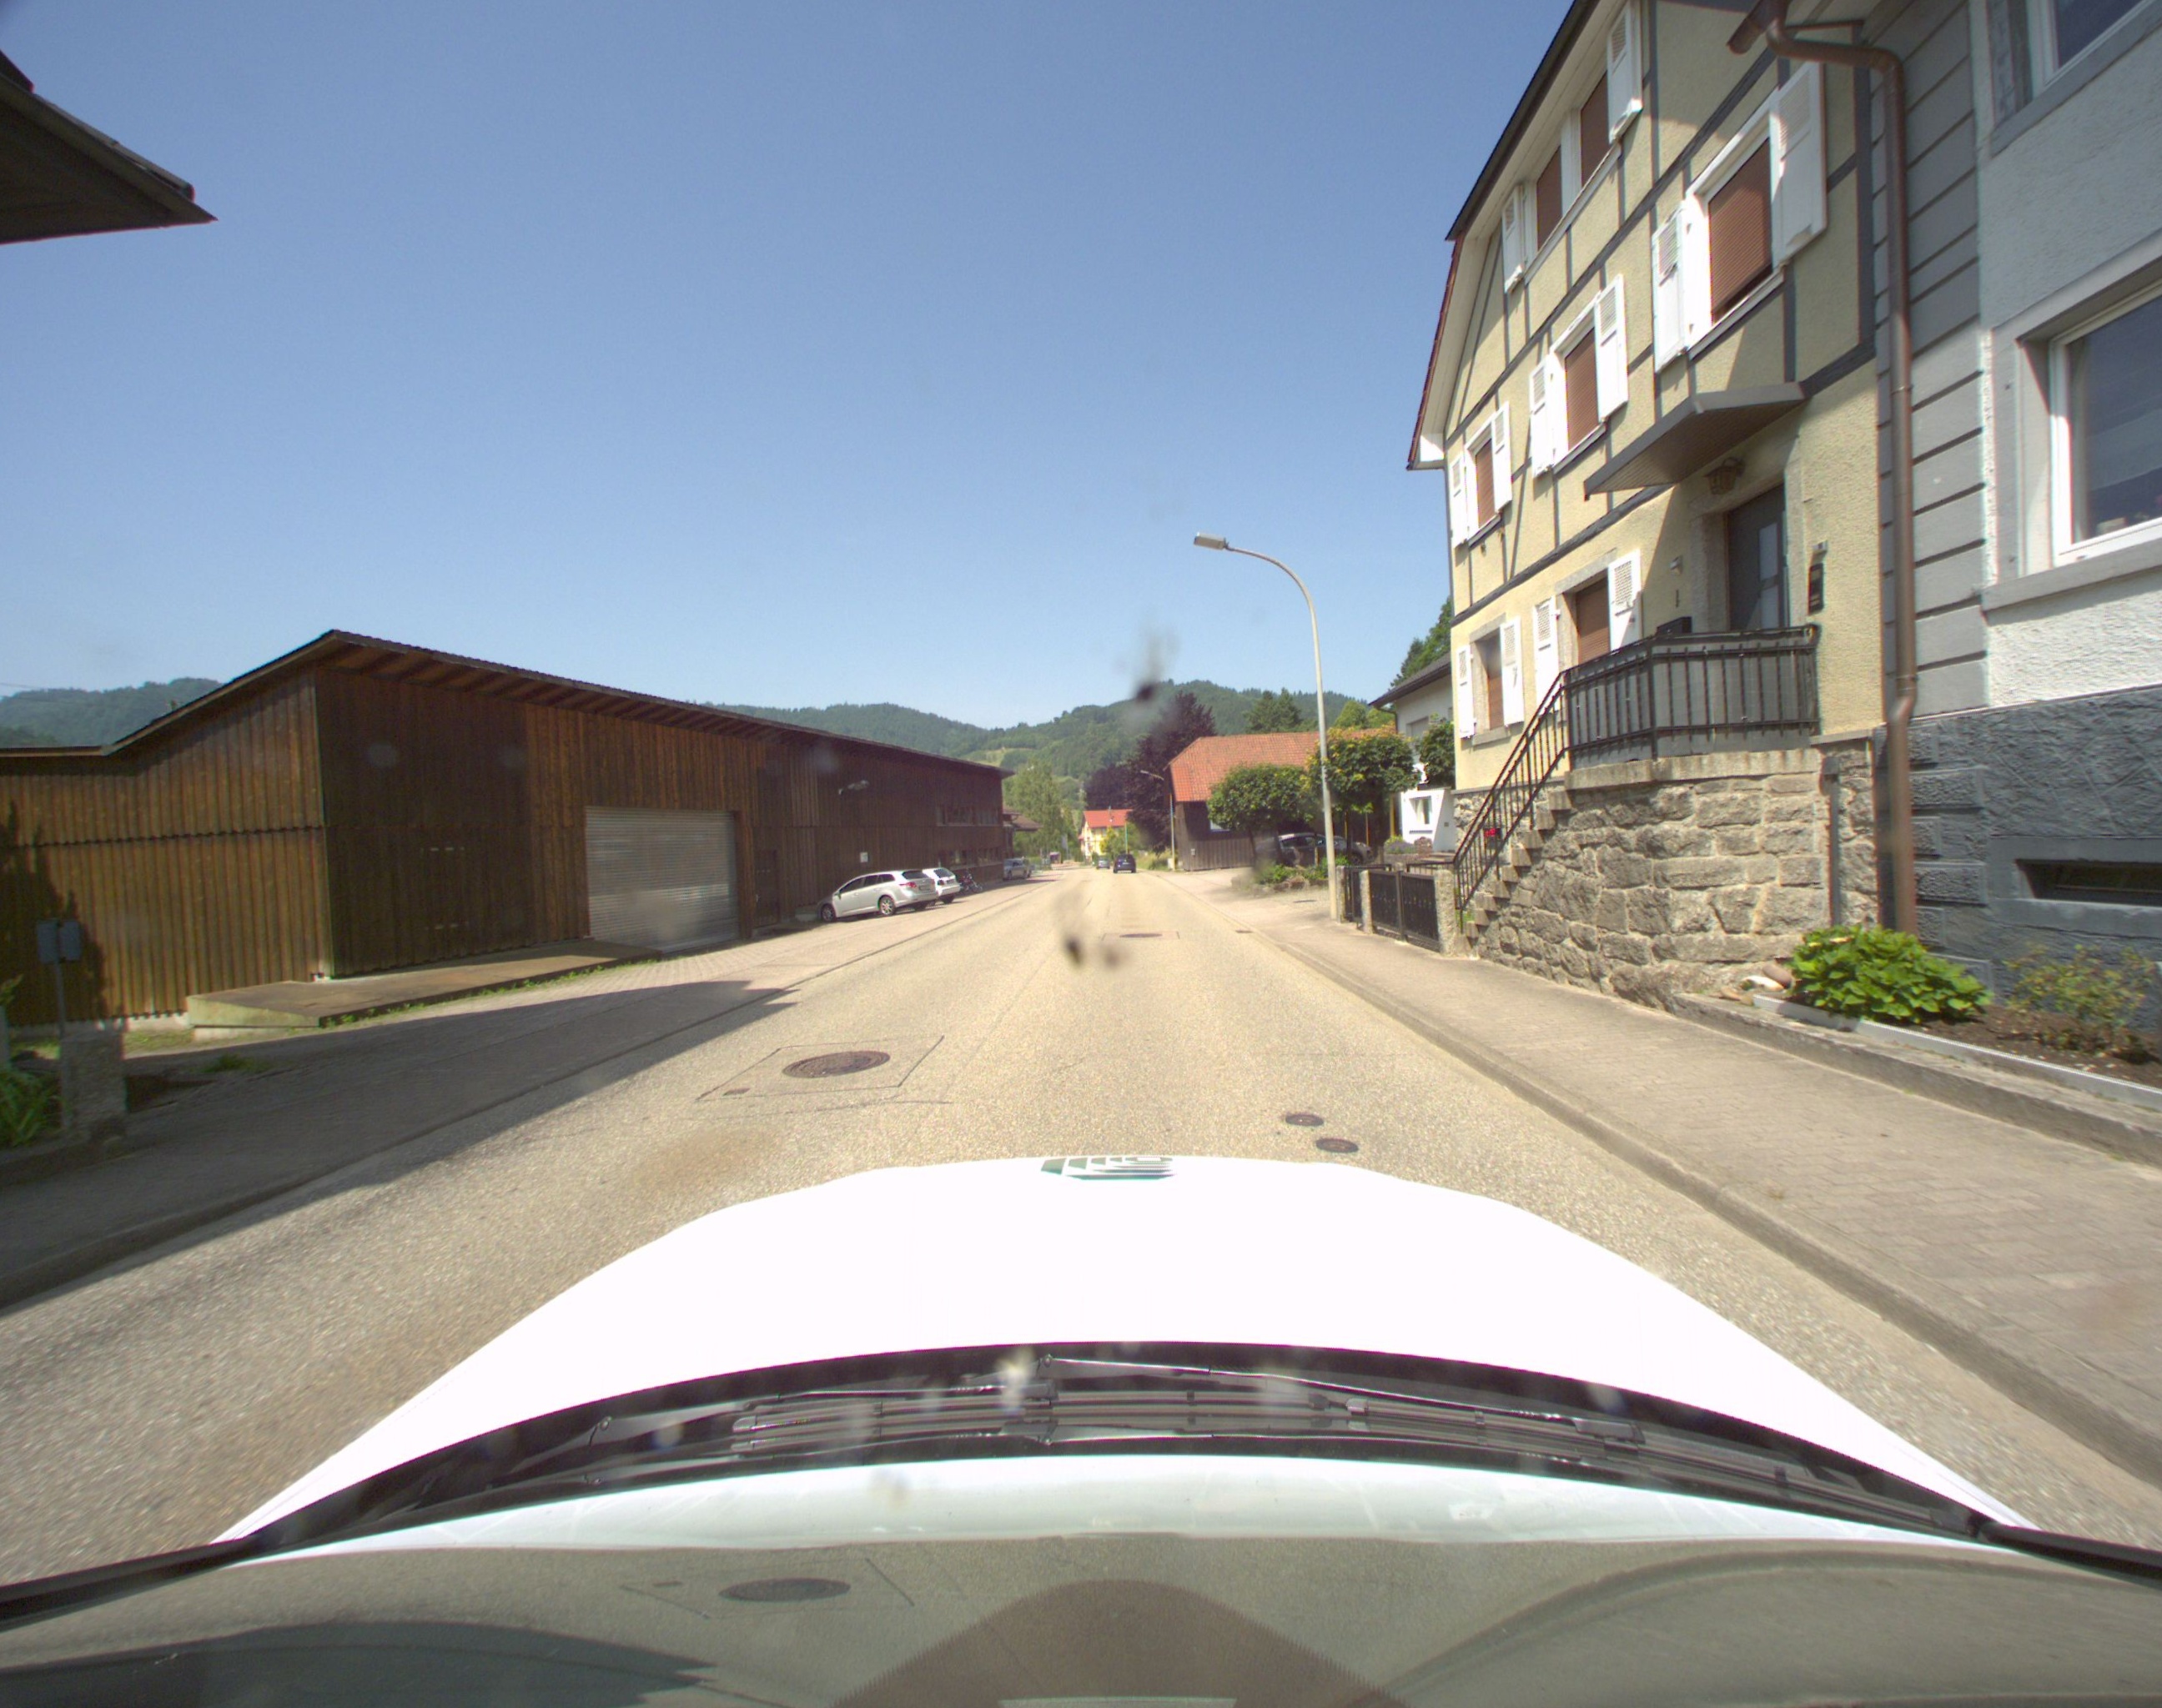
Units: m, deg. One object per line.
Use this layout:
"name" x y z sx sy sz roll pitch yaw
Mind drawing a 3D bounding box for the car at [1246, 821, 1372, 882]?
"car" 8.507 -0.085 30.682 4.200 1.687 1.780 -8 -1 6

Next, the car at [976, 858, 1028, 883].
"car" -5.258 1.080 54.715 1.715 1.454 4.826 -2 1 16

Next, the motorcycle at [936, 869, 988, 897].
"motorcycle" -6.059 1.490 41.449 2.392 1.264 0.746 -4 0 12

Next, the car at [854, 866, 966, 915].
"car" -6.469 1.372 30.851 3.630 1.385 1.719 -7 -1 17

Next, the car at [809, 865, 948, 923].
"car" -7.014 1.391 28.159 4.387 1.474 1.936 -7 -1 28

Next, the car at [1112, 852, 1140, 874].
"car" 3.766 0.731 69.199 1.915 1.698 3.784 -3 -1 -3

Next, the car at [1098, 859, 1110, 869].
"car" 3.112 1.326 109.817 1.473 1.209 2.382 -4 0 -2
